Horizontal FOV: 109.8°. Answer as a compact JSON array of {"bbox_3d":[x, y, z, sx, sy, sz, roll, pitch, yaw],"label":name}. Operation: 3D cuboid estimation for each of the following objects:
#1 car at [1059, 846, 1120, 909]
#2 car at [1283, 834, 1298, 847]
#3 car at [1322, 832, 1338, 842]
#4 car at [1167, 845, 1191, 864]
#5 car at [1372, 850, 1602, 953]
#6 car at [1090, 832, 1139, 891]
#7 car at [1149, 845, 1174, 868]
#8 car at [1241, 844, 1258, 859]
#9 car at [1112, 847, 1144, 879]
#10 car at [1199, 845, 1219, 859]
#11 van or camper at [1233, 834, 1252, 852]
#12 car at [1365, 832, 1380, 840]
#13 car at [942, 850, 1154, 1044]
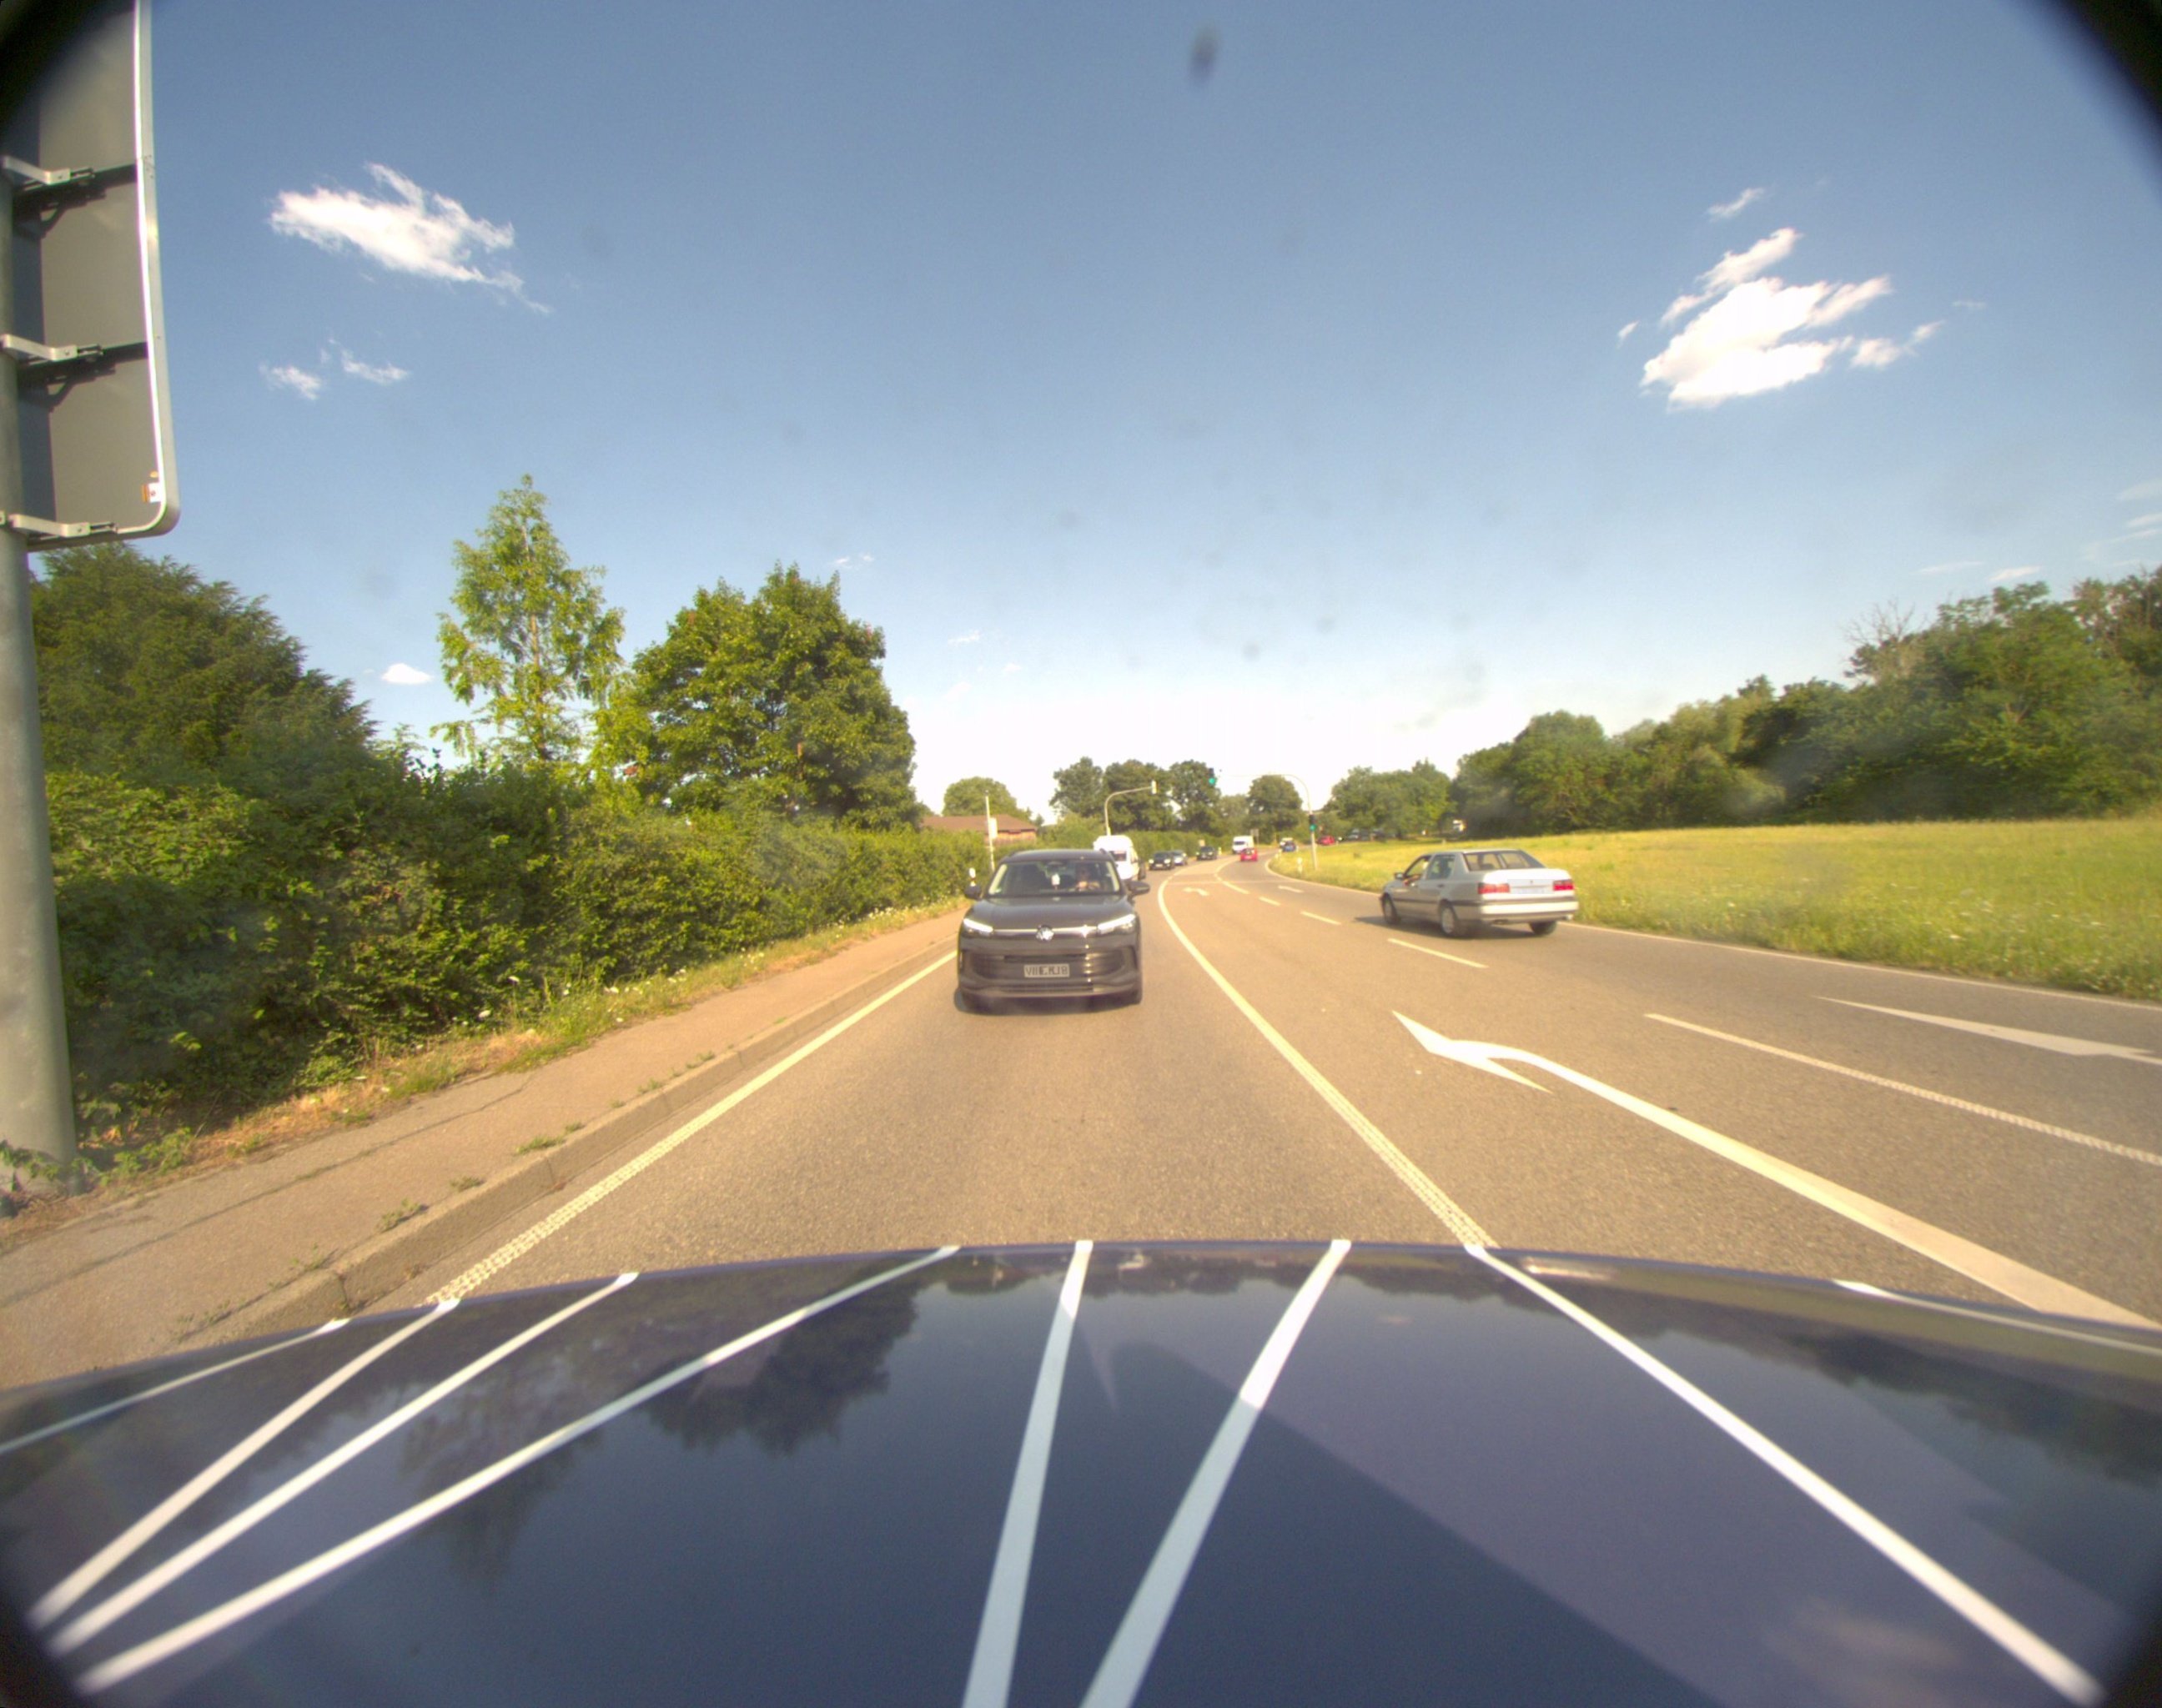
[{"bbox_3d":[0.299,0.640,23.037,1.659,1.720,3.804,-1,0,2],"label":"car"},{"bbox_3d":[31.753,-1.963,114.953,1.726,1.871,4.342,-1,0,21],"label":"car"},{"bbox_3d":[48.741,-3.278,148.615,1.881,1.765,4.330,-1,0,33],"label":"car"},{"bbox_3d":[9.043,0.057,70.015,1.633,1.550,3.420,-1,2,16],"label":"car"},{"bbox_3d":[6.652,0.682,13.042,1.711,1.420,4.178,-3,0,1],"label":"car"},{"bbox_3d":[1.532,0.288,32.970,1.843,2.338,4.791,-1,0,5],"label":"car"},{"bbox_3d":[6.432,0.162,60.494,1.672,1.718,3.670,0,2,12],"label":"car"},{"bbox_3d":[17.217,-0.261,77.599,1.588,1.458,3.610,-1,0,13],"label":"car"},{"bbox_3d":[2.734,0.494,43.619,1.693,1.718,3.669,-1,1,6],"label":"car"},{"bbox_3d":[14.560,-0.252,86.199,1.605,1.471,3.621,0,1,19],"label":"car"},{"bbox_3d":[23.799,-1.611,111.861,2.031,2.461,5.083,-4,0,20],"label":"van or camper"},{"bbox_3d":[66.287,-4.094,172.876,1.881,1.577,4.339,-1,0,41],"label":"car"},{"bbox_3d":[-0.272,0.830,8.800,1.866,1.633,4.000,-1,1,1],"label":"car"}]
